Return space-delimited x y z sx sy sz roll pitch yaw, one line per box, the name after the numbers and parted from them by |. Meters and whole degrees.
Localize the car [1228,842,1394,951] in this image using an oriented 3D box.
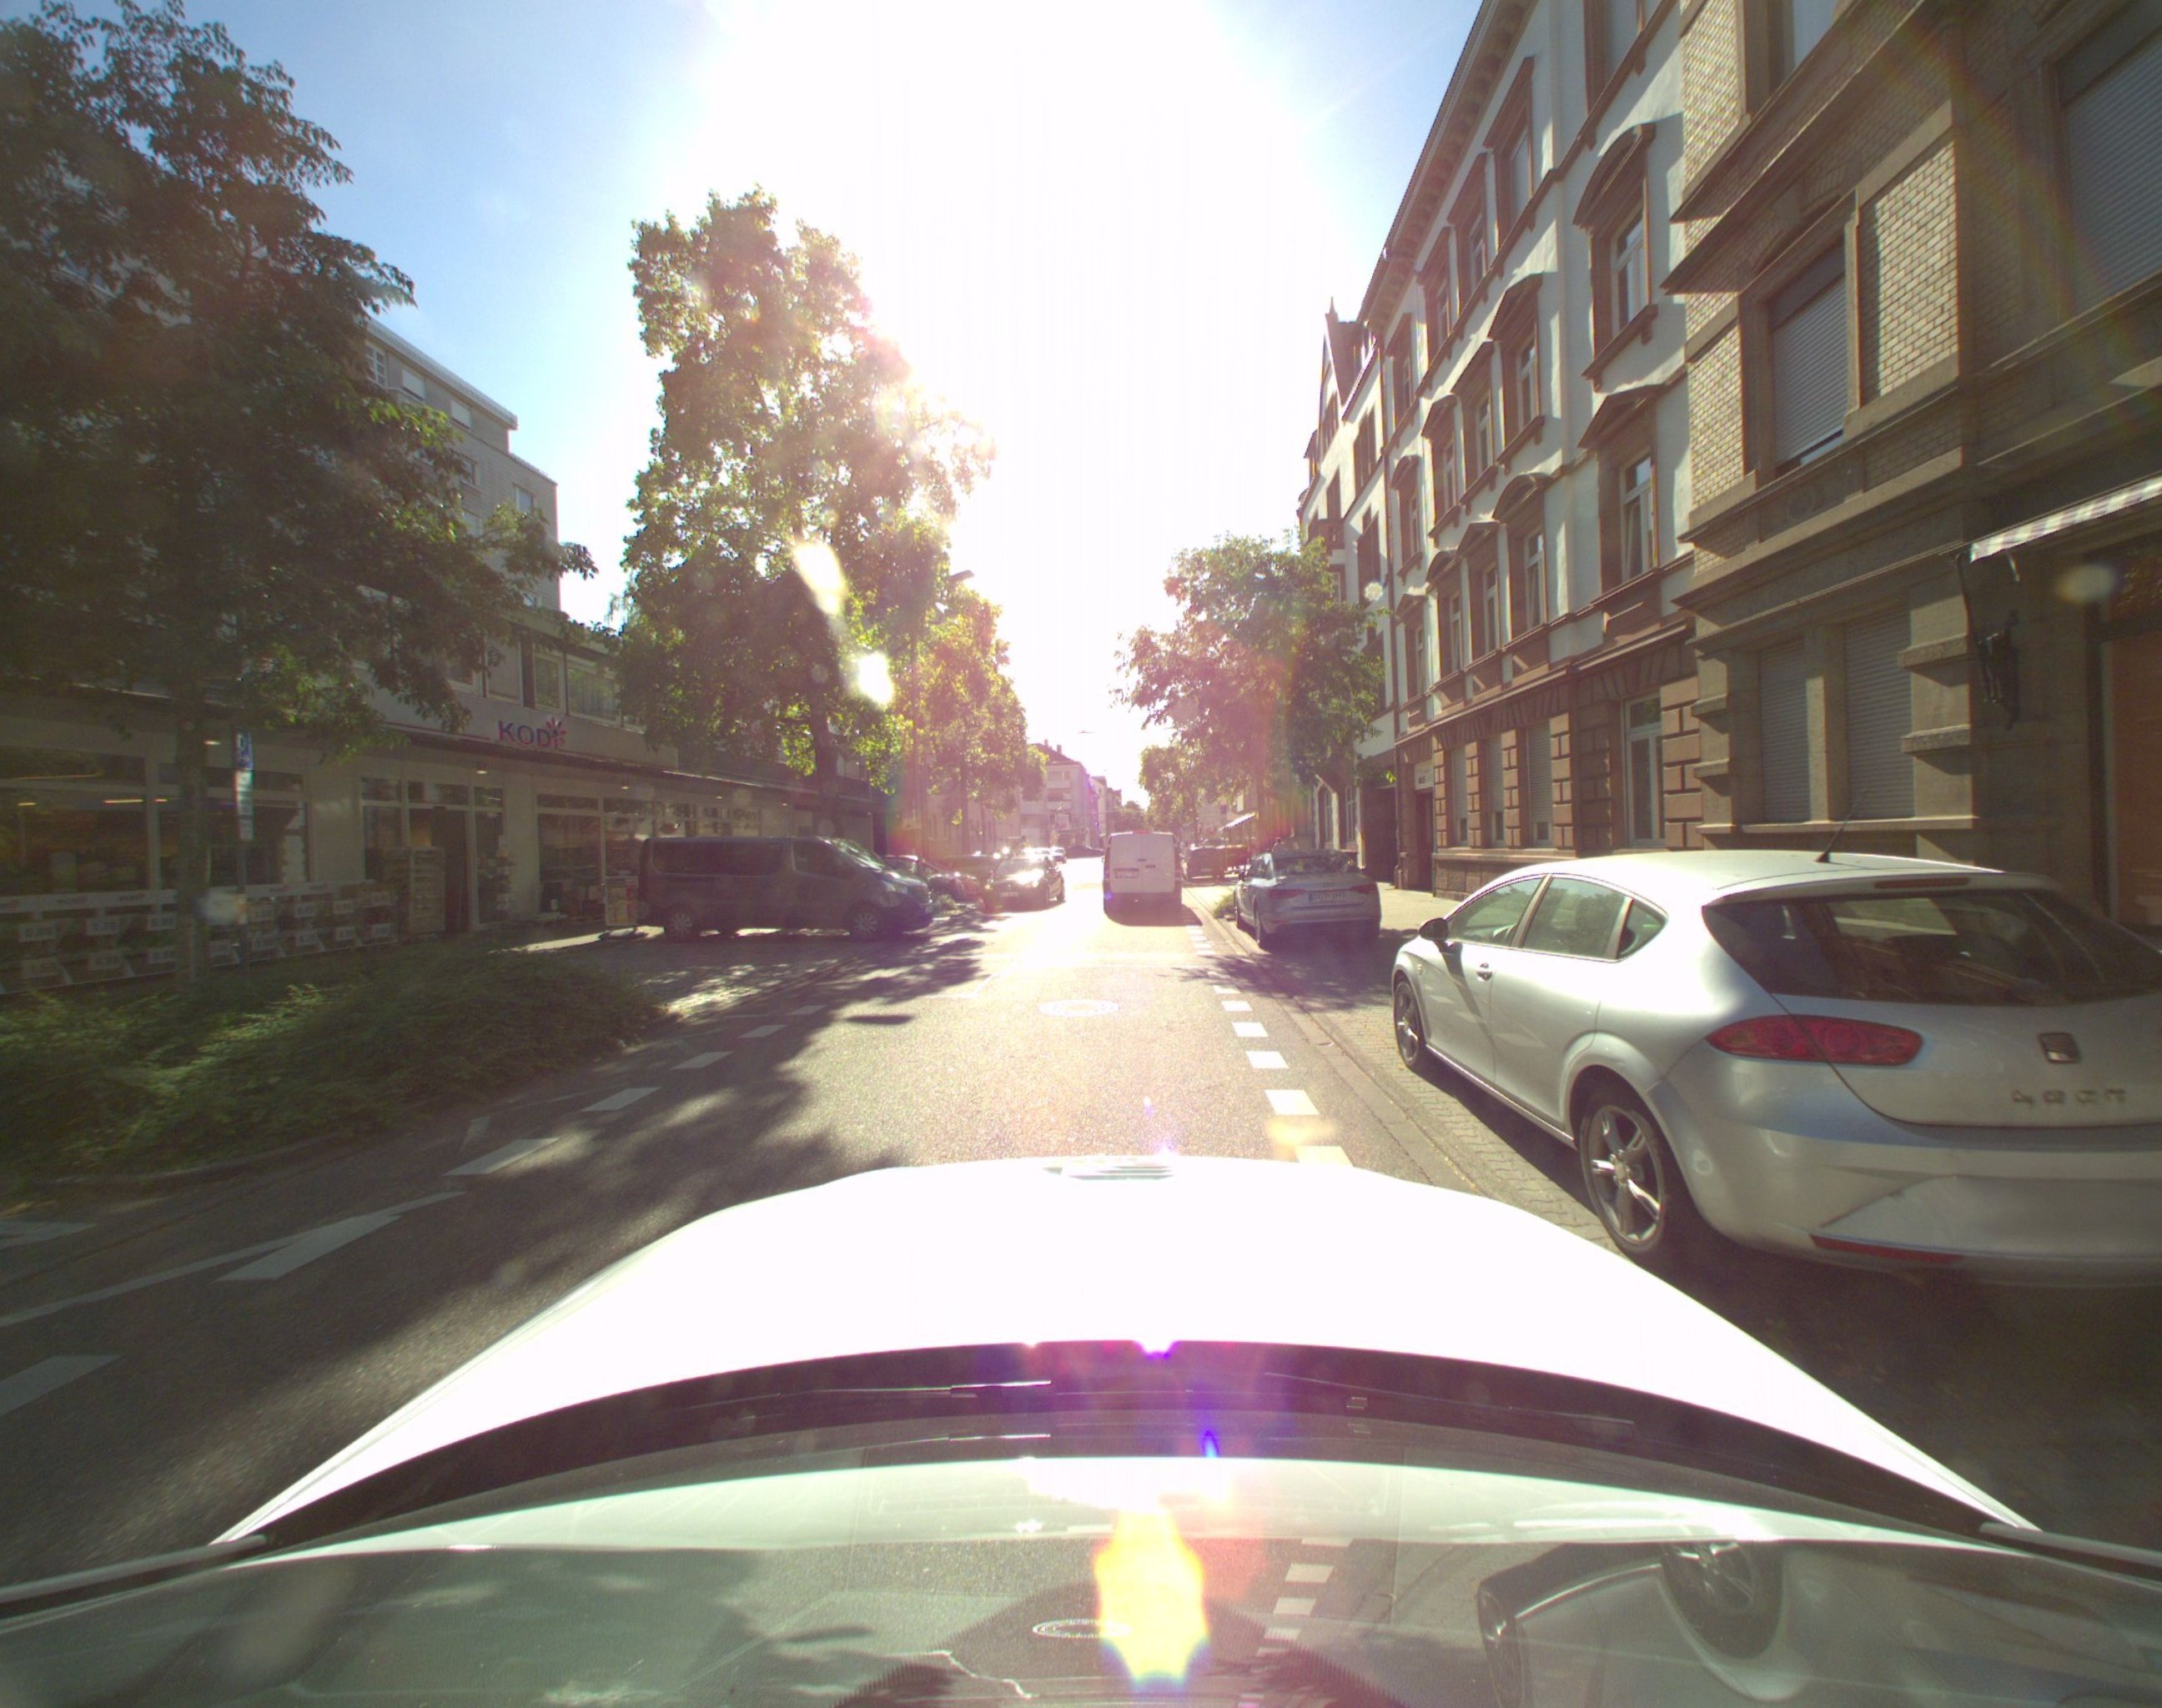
3.548 0.556 13.372 1.731 1.451 4.312 -2 1 4 | car

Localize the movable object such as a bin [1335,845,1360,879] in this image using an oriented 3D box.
8.778 0.259 26.843 0.635 1.069 0.640 -2 0 4 | movable object such as a bin

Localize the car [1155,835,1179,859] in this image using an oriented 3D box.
7.402 -0.615 70.234 1.808 1.921 4.649 -2 1 3 | car

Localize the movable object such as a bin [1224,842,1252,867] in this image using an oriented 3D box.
8.720 0.031 45.163 1.028 1.347 1.115 -1 1 43 | movable object such as a bin

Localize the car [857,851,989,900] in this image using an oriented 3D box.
-5.169 0.682 27.046 3.972 1.463 1.813 -1 1 1 | car

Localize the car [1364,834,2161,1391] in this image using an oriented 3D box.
2.902 0.667 4.154 1.731 1.451 4.004 -2 1 4 | car

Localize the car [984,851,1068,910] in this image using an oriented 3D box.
-1.482 0.681 23.463 1.754 1.438 3.965 -3 0 4 | car

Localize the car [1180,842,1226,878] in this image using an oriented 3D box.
5.398 0.245 36.473 1.629 1.475 3.583 -3 1 3 | car

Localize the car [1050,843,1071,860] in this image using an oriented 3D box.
-1.846 -0.240 75.284 1.646 1.479 4.004 0 1 3 | car

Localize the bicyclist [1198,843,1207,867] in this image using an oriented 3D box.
8.006 0.077 53.631 0.437 1.508 0.497 5 0 4 | bicyclist

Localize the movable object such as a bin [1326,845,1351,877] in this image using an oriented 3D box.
8.846 0.245 27.998 0.635 1.069 0.633 -2 0 4 | movable object such as a bin

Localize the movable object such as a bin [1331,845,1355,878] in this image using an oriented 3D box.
8.812 0.254 27.412 0.635 1.069 0.522 -2 0 4 | movable object such as a bin

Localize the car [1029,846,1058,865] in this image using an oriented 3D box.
-2.947 0.077 64.912 1.769 1.469 4.765 1 1 4 | car

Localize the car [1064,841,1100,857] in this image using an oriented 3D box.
0.159 -0.587 92.915 3.973 1.640 2.000 -2 1 1 | car

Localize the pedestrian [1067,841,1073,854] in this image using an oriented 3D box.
-1.331 -0.831 101.093 0.681 1.663 0.602 -2 0 3 | pedestrian

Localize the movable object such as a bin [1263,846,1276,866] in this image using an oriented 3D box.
10.134 0.119 43.797 0.595 1.042 0.546 -2 0 3 | movable object such as a bin

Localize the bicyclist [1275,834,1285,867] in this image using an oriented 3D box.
8.769 -0.154 35.931 0.359 1.477 0.532 -1 0 6 | bicyclist

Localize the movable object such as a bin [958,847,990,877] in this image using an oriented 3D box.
-5.339 0.383 40.584 1.222 1.450 1.080 -2 0 12 | movable object such as a bin

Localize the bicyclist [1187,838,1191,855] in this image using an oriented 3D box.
10.148 -0.682 76.421 0.354 1.575 0.482 -1 0 1 | bicyclist

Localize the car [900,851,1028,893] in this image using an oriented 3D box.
-4.224 0.651 29.706 4.283 1.460 1.765 0 1 6 | car

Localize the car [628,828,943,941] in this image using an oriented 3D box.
-5.504 0.548 15.628 5.269 1.974 2.018 -1 1 4 | car

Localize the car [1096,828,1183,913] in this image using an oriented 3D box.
1.377 0.330 20.879 1.914 1.914 4.888 -1 1 1 | car

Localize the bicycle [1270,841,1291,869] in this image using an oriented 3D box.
8.792 0.044 35.953 0.533 1.148 2.127 -4 0 6 | bicycle

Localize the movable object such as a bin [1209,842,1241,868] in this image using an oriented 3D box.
7.777 0.039 44.007 1.278 1.347 1.096 -3 1 -38 | movable object such as a bin

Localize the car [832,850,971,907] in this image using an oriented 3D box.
-5.204 0.690 23.839 3.581 1.552 1.686 -1 0 5 | car

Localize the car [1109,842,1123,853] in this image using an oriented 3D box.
4.702 -0.918 108.734 1.611 1.398 3.736 -1 1 4 | car
